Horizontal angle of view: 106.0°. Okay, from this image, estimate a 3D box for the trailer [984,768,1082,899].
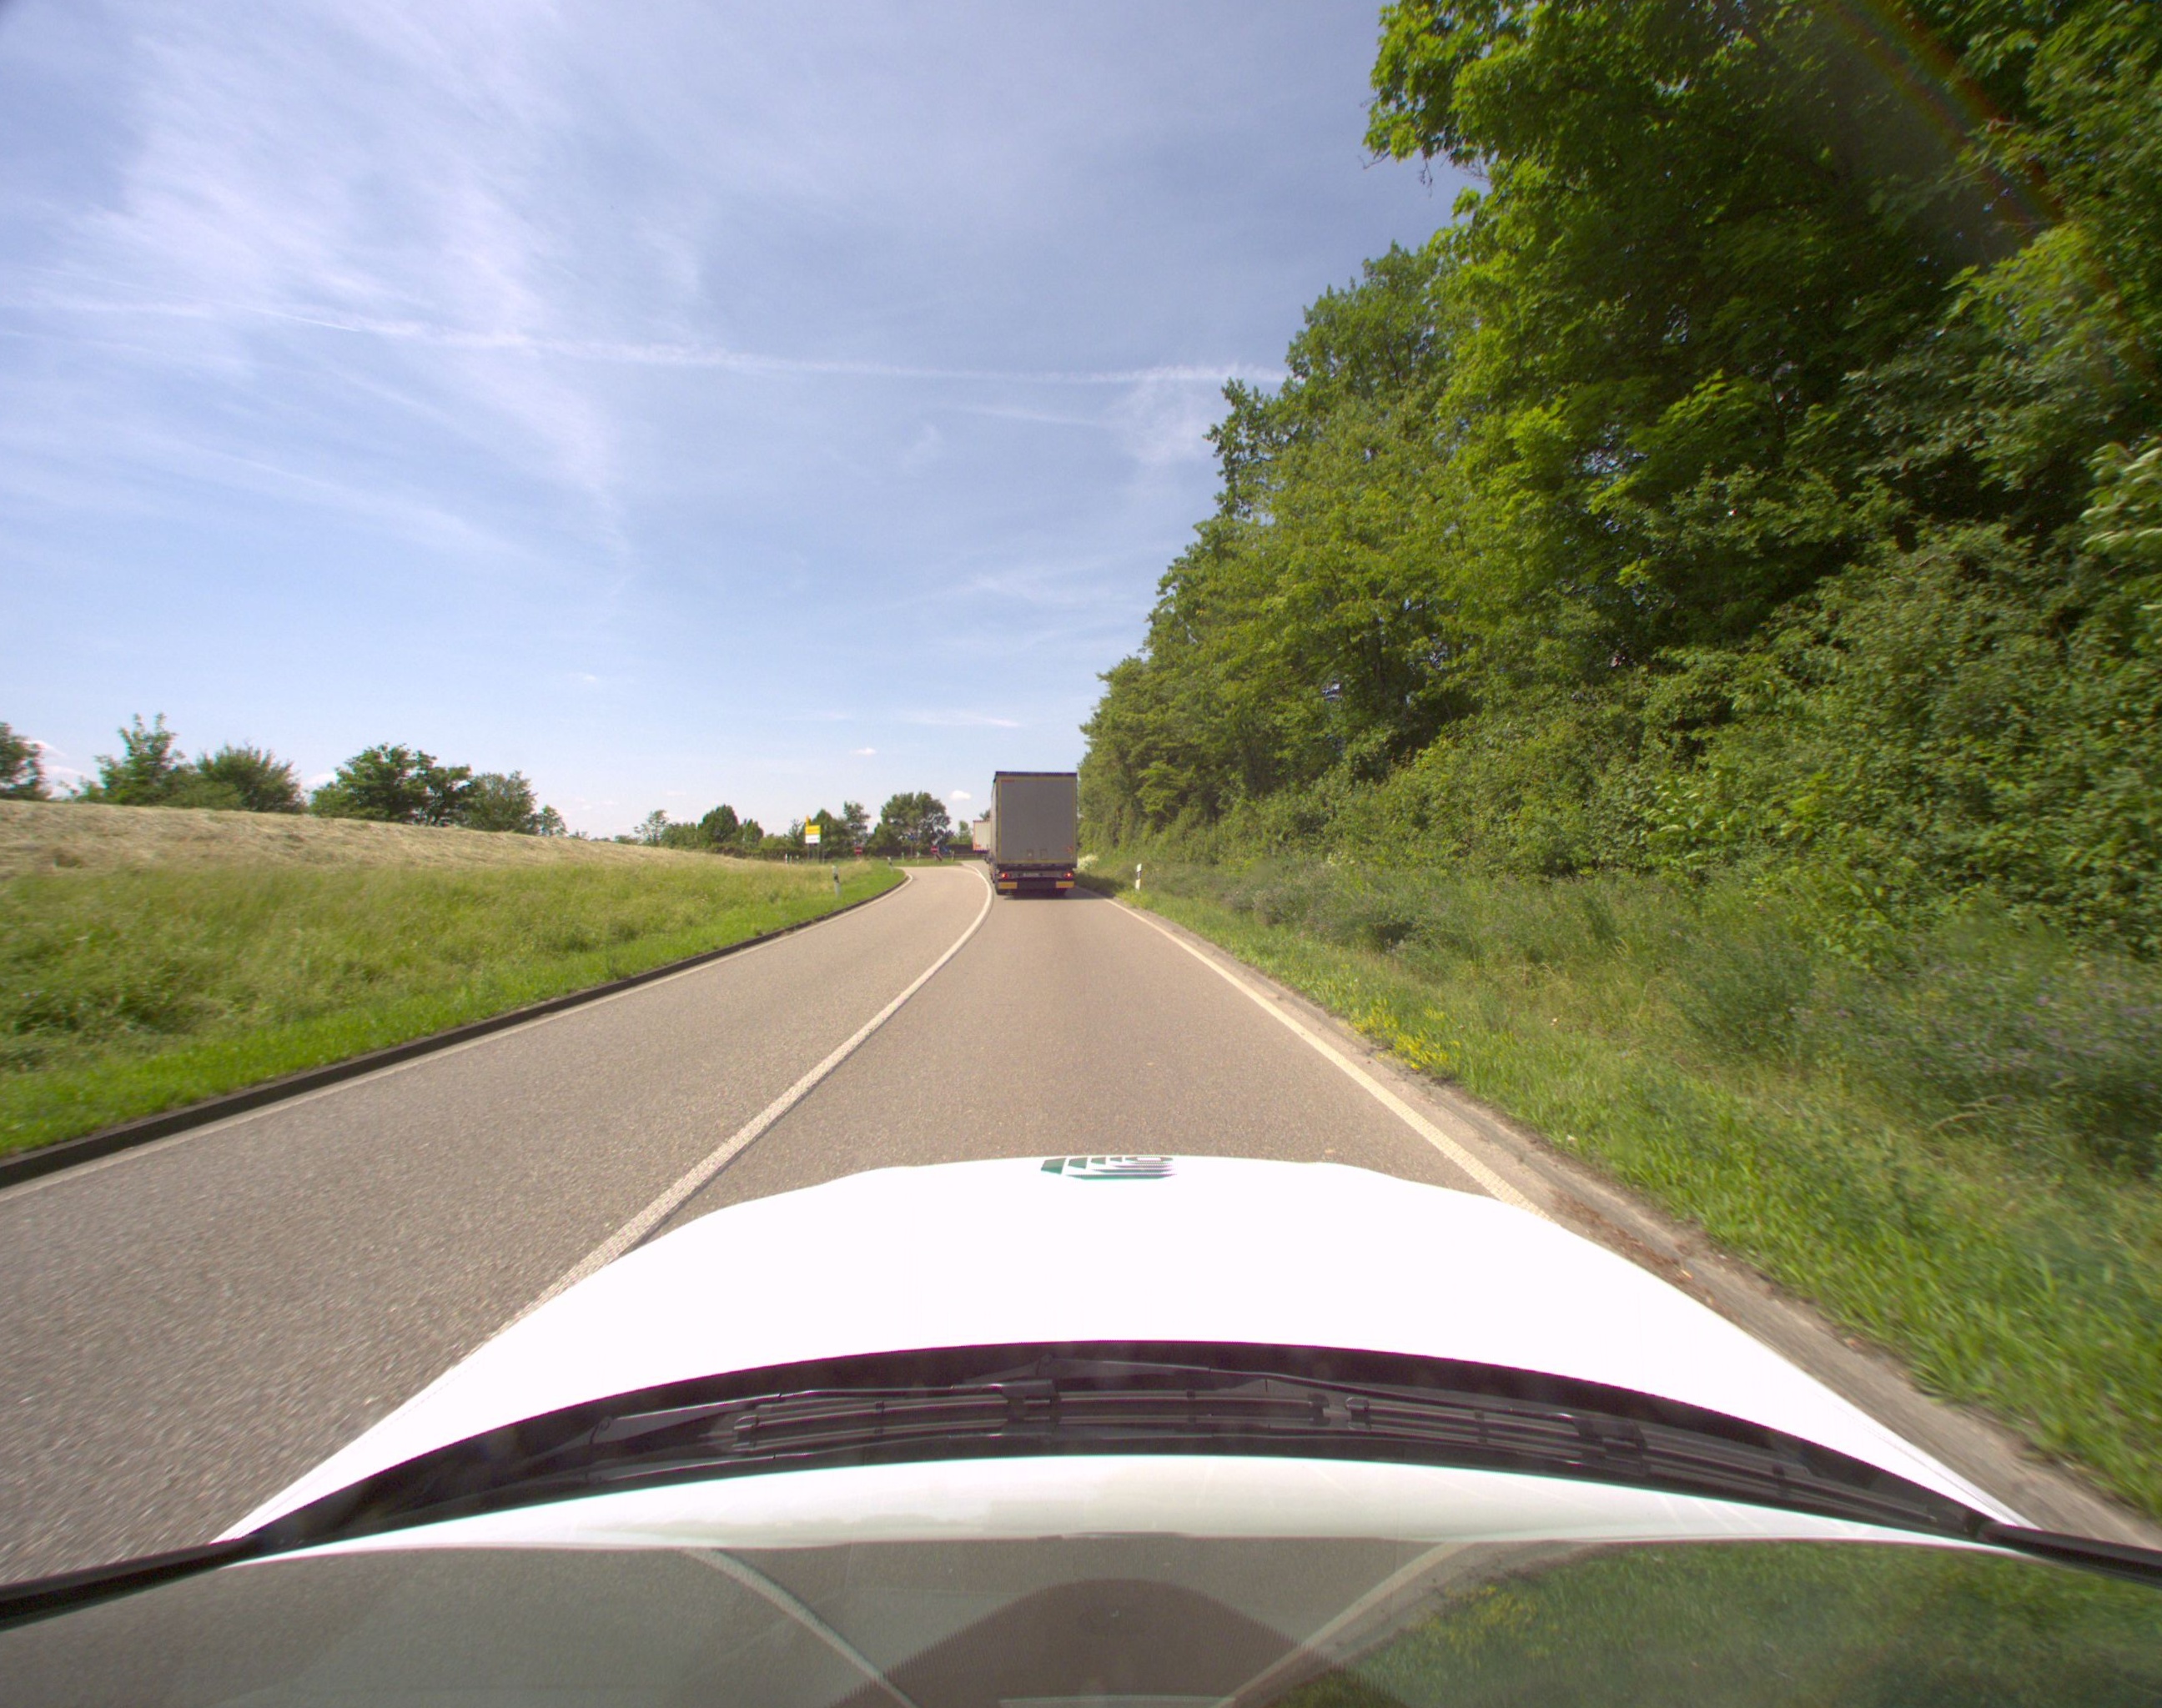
[{"bbox_3d":[-2.134,-0.629,31.712,3.023,4.034,13.324,0,0,-6],"label":"trailer"}]

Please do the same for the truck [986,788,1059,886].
[{"bbox_3d":[-2.826,-0.722,38.794,3.148,4.225,7.109,0,0,-5],"label":"truck"}]

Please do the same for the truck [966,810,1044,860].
[{"bbox_3d":[-7.739,-1.879,86.953,3.804,4.744,16.253,-1,0,11],"label":"truck"}]

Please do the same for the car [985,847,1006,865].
[{"bbox_3d":[-7.186,0.147,68.283,1.664,1.486,3.991,-1,1,-7],"label":"car"}]
